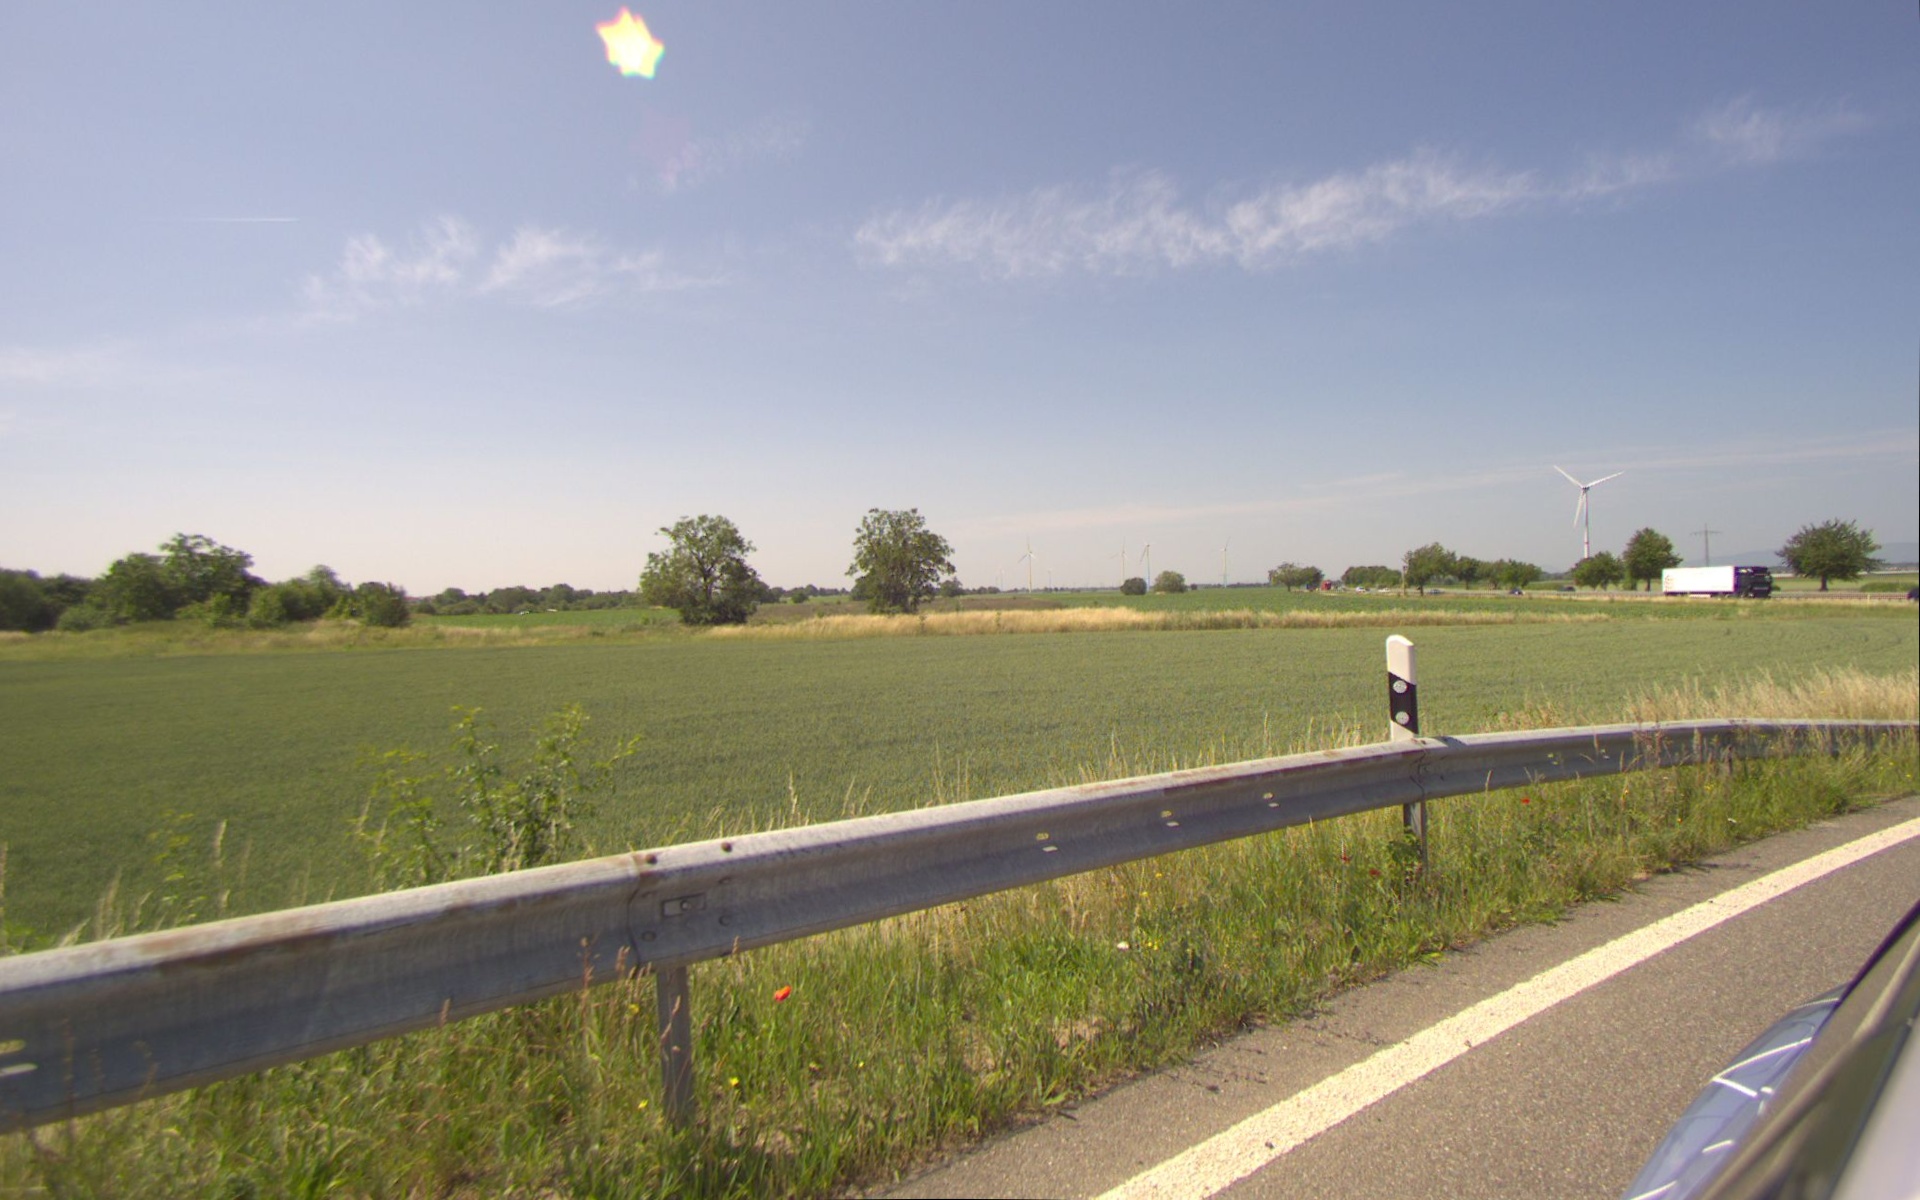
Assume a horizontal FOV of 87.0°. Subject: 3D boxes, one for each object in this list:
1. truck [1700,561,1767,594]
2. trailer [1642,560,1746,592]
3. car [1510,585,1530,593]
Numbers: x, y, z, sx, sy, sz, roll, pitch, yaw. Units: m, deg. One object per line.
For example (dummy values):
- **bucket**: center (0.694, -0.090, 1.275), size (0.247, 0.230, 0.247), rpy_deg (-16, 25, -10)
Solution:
- **truck**: center (88.369, -2.555, 115.738), size (3.059, 3.562, 6.231), rpy_deg (0, 1, 4)
- **trailer**: center (88.844, -2.881, 123.015), size (3.047, 3.690, 14.500), rpy_deg (0, 1, 4)
- **car**: center (102.605, -2.060, 185.369), size (1.651, 1.371, 3.996), rpy_deg (0, 1, 4)
